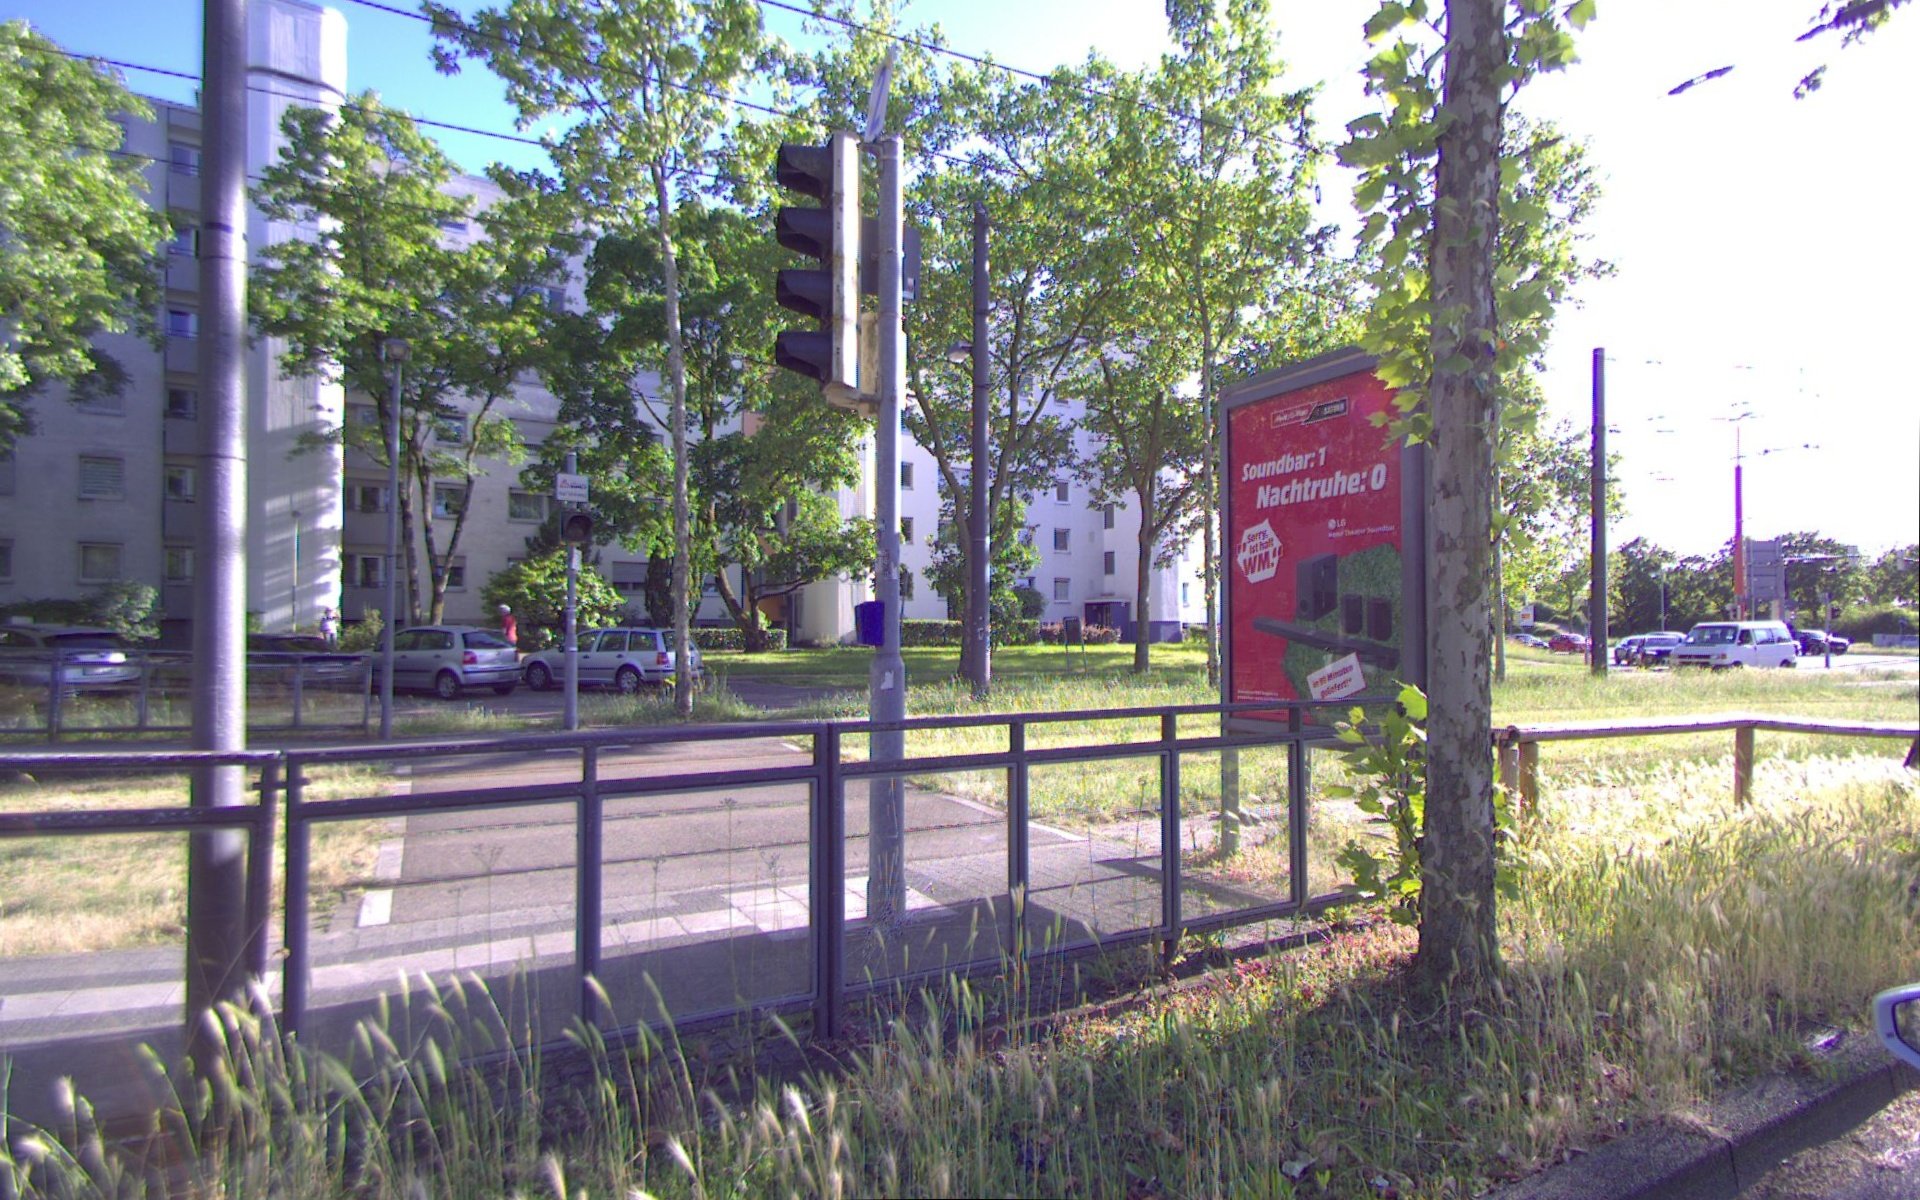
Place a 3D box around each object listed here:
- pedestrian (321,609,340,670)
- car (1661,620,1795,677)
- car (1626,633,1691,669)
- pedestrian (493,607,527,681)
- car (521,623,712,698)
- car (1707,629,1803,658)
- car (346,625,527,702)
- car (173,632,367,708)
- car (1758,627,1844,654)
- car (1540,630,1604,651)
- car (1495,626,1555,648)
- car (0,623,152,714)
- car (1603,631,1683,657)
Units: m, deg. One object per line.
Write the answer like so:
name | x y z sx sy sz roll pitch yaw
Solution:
pedestrian | -18.926 1.189 30.206 0.445 1.815 0.315 1 -1 -36
car | 26.150 1.644 34.179 4.507 1.804 1.817 2 -1 -26
car | 33.820 2.435 48.763 1.864 1.564 4.496 1 -1 25
pedestrian | -11.234 1.085 25.076 0.709 1.815 0.473 1 -1 -30
car | -7.715 1.317 22.586 3.843 1.495 1.632 1 -1 19
car | 49.163 2.701 62.228 1.866 1.632 4.493 -2 -2 -10
car | -11.003 1.282 21.147 3.222 1.450 1.571 1 -1 19
car | -13.300 1.308 19.368 3.318 1.270 1.465 1 -1 21
car | 54.925 2.616 65.669 1.866 1.642 3.994 -2 -2 -10
car | 45.337 2.983 74.500 1.783 1.455 4.041 -2 -1 -10
car | 45.888 2.954 81.680 1.866 1.632 4.492 -2 -1 -10
car | -16.267 1.151 17.625 3.316 1.445 1.541 1 -1 14
car | 46.203 2.995 68.065 1.866 1.632 4.493 -2 -2 -10
